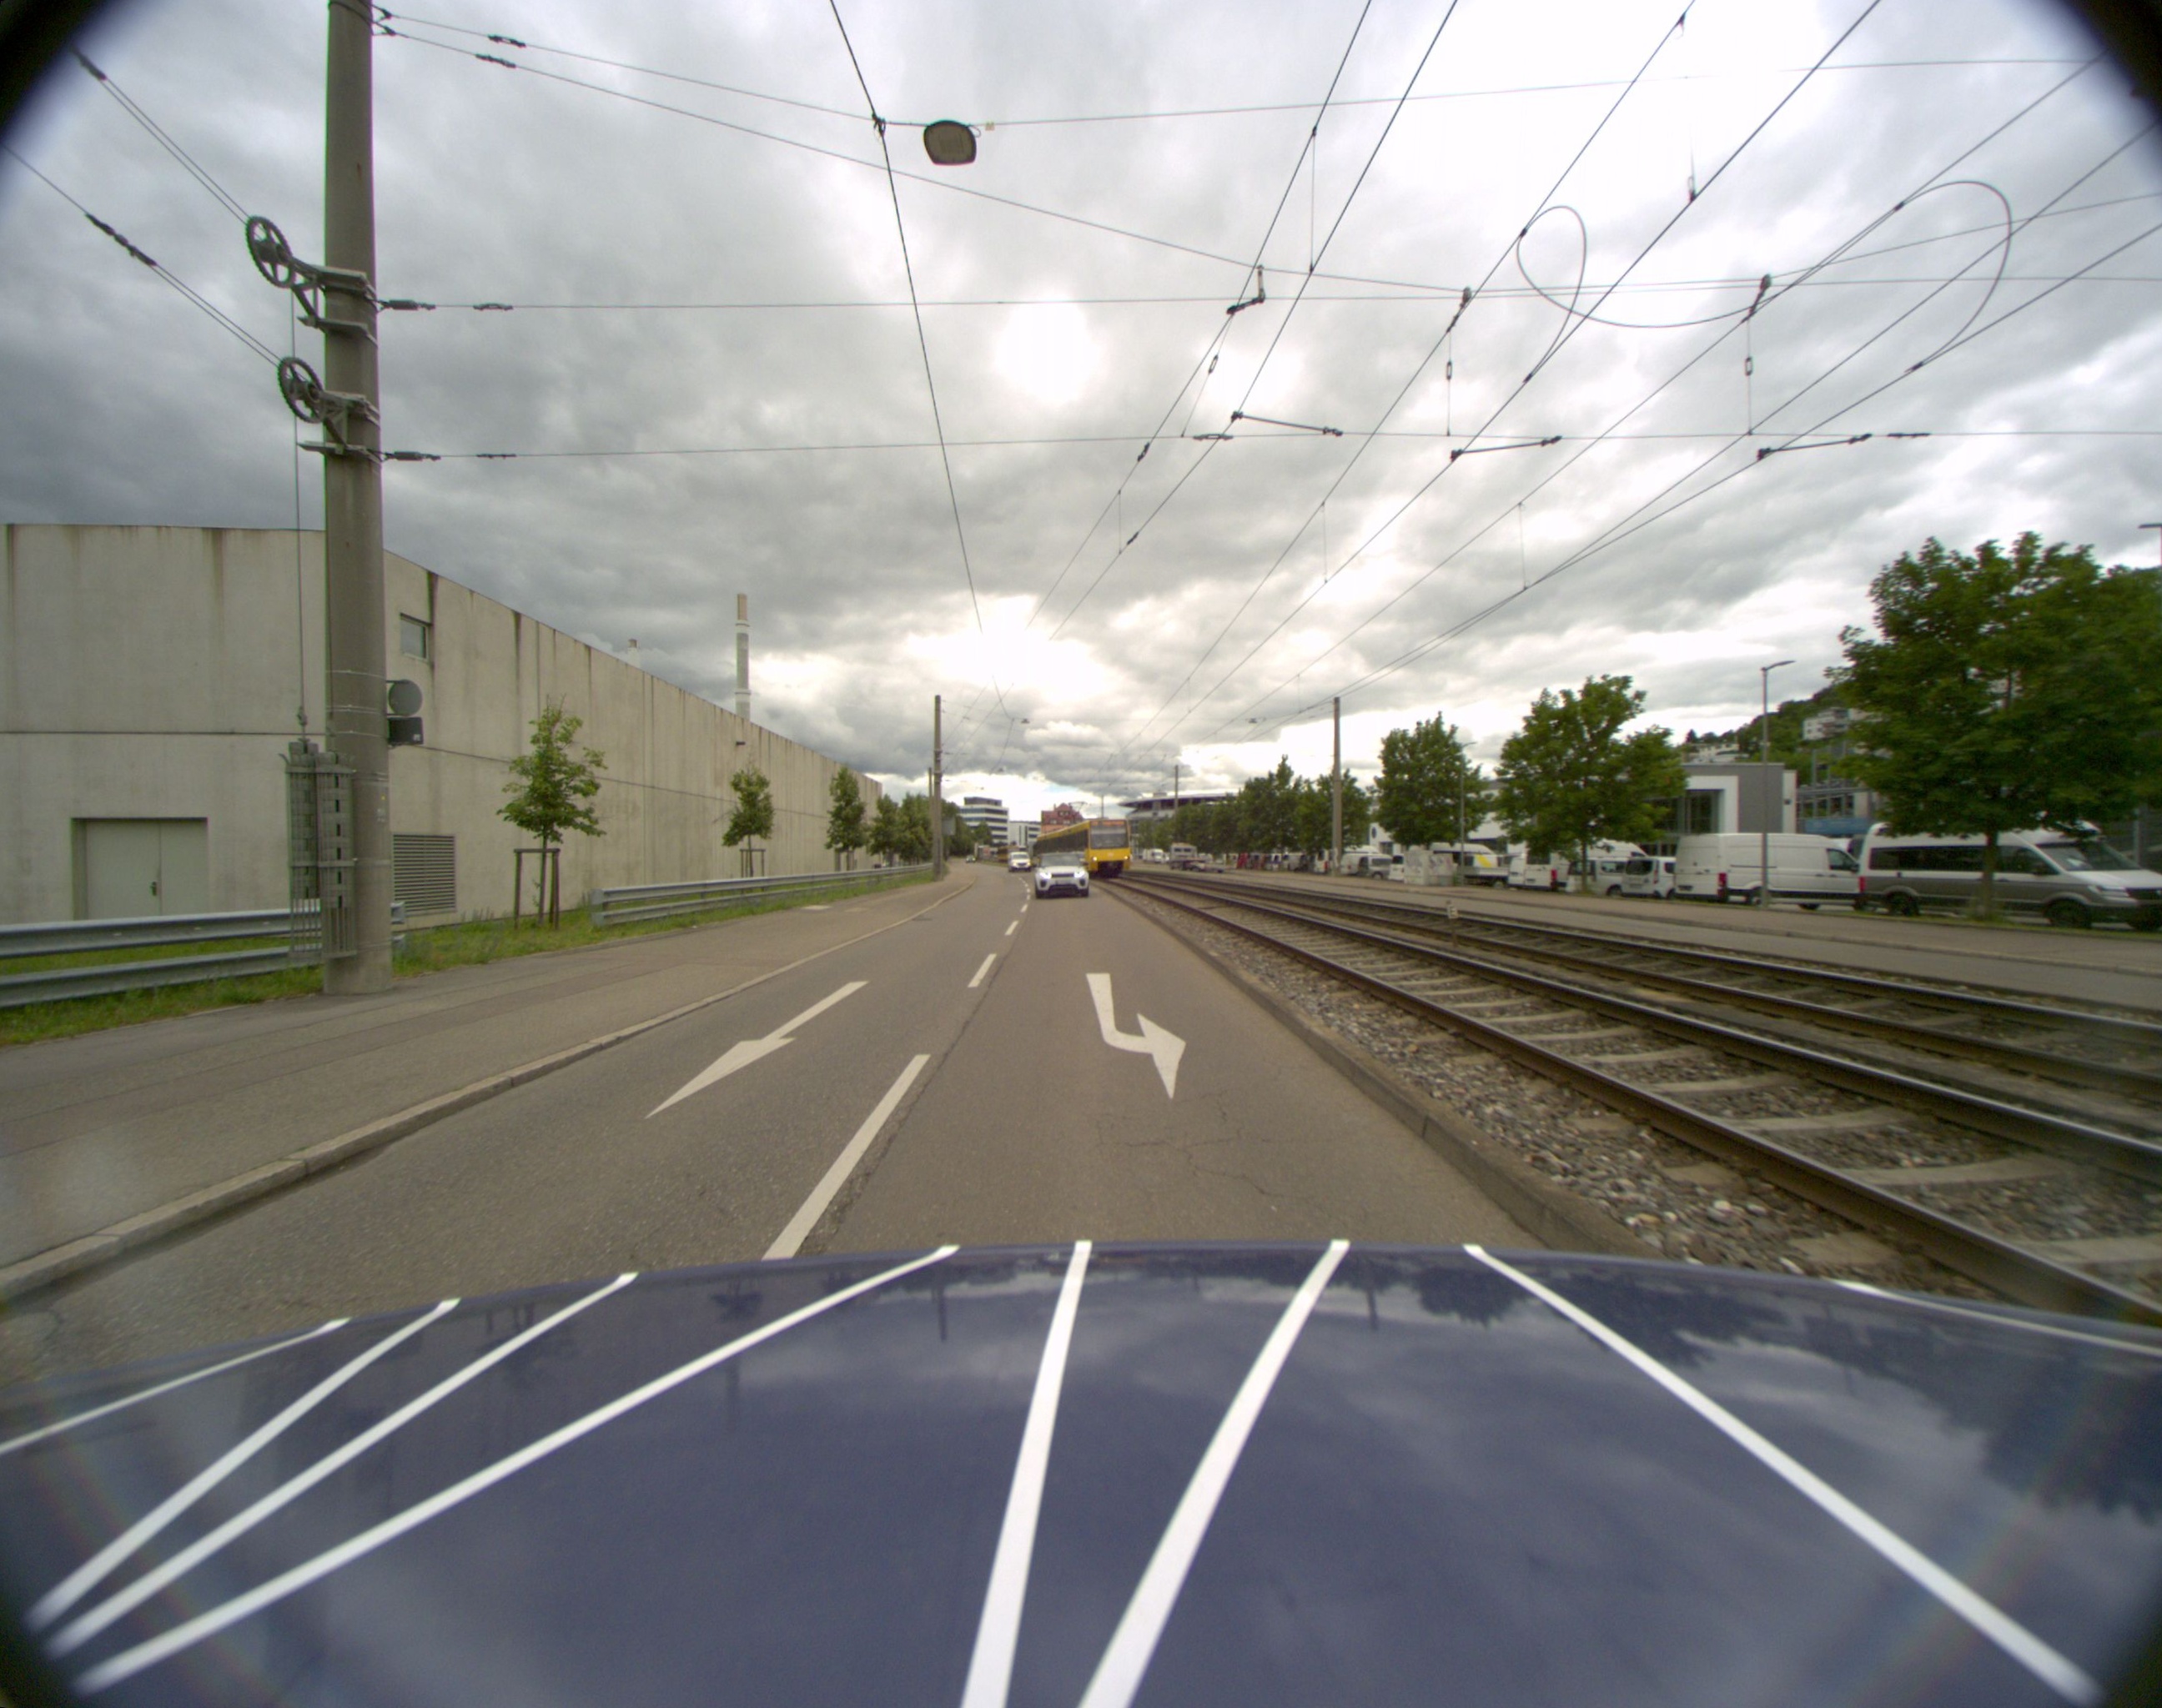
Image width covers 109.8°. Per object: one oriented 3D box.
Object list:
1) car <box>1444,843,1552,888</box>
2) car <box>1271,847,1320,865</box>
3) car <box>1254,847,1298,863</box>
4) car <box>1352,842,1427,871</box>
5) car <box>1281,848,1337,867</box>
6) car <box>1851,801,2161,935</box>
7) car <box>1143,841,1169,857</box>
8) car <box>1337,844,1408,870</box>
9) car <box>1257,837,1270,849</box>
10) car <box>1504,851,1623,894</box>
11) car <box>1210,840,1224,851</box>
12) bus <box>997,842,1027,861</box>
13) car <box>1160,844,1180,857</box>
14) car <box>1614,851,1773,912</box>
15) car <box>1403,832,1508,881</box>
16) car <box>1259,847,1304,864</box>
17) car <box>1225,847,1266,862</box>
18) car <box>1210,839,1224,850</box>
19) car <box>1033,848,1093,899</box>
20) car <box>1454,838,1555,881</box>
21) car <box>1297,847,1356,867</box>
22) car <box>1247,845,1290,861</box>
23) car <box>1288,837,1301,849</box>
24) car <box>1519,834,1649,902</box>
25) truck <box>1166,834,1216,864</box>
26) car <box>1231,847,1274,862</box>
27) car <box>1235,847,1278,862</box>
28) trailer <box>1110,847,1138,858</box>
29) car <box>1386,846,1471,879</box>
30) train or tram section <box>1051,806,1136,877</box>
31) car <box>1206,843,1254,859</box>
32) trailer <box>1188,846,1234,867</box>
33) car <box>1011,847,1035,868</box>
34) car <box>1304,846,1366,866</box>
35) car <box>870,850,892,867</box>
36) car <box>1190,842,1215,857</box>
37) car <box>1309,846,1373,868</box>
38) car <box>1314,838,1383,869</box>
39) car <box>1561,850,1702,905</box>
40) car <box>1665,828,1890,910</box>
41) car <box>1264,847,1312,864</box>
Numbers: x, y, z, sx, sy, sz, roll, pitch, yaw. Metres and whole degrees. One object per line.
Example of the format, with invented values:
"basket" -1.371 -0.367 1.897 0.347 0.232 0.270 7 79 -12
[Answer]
"car" 20.765 0.534 37.919 4.379 2.160 2.003 0 1 -6
"car" 19.667 0.203 69.742 3.997 1.608 2.000 0 1 0
"car" 19.876 0.070 77.498 3.997 1.608 2.000 0 1 0
"car" 21.376 0.144 52.718 4.377 1.936 2.004 0 1 -1
"car" 20.115 0.284 67.194 4.377 1.608 2.003 0 1 -2
"car" 24.308 0.293 19.978 2.113 3.002 5.936 0 1 0
"car" 12.293 -0.809 125.379 2.002 2.546 5.852 -1 1 -20
"car" 21.047 0.180 55.032 4.377 1.834 2.004 0 1 -1
"car" 32.194 -1.915 134.063 1.996 2.002 4.005 0 1 18
"car" 22.459 0.844 35.475 4.379 1.899 2.003 0 1 -6
"car" 24.644 -1.505 137.391 1.996 2.002 4.005 0 1 18
"bus" -15.442 -0.582 168.545 3.565 3.931 10.470 -2 2 -23
"car" 13.970 -0.518 119.635 2.000 2.002 4.803 -1 0 -8
"car" 22.436 0.960 27.928 4.379 2.093 2.003 0 1 -6
"car" 21.319 0.143 43.347 4.981 2.683 2.114 0 1 -6
"car" 19.867 0.138 75.390 3.997 1.608 2.000 0 1 0
"car" 19.172 0.052 88.871 4.347 1.608 2.154 0 1 0
"car" 24.490 -1.657 136.456 1.996 2.002 4.005 0 1 18
"car" -0.653 0.659 28.338 1.999 1.718 3.999 -2 1 -1
"car" 22.551 0.273 40.550 4.379 2.160 2.003 0 1 -6
"car" 20.982 0.215 65.020 4.377 1.676 2.004 0 1 -1
"car" 19.657 -0.086 79.862 3.997 1.655 2.047 0 1 0
"car" 37.452 -1.906 133.426 1.996 2.002 4.005 0 1 18
"car" 21.692 0.581 32.866 4.379 2.803 2.003 0 1 -6
"truck" 10.641 -0.478 74.588 2.764 2.726 9.214 2 0 -4
"car" 19.354 0.042 86.006 4.356 1.608 2.119 0 1 0
"car" 19.072 0.056 82.737 4.189 1.608 2.062 0 1 0
"trailer" 6.430 -0.206 114.908 2.767 1.486 7.219 2 0 -8
"car" 21.567 0.508 47.206 4.379 1.999 2.003 0 1 -6
"train or tram section" 0.408 -0.902 52.157 3.399 3.984 16.929 -2 1 -7
"car" 18.446 -0.386 94.096 5.703 1.996 2.146 0 1 16
"trailer" 11.276 0.145 66.601 2.389 1.688 6.944 2 1 -4
"car" -5.410 0.330 70.612 2.000 1.882 4.623 0 0 -8
"car" 20.873 0.178 62.559 4.377 1.608 2.004 0 1 -1
"car" -20.195 0.443 76.824 1.755 1.565 4.426 -2 0 -10
"car" 16.251 -0.584 101.963 2.000 2.002 4.857 0 1 -7
"car" 20.594 0.231 60.345 4.378 1.679 2.030 0 1 -5
"car" 20.118 -0.059 57.257 4.508 2.298 2.125 0 1 -1
"car" 22.063 0.903 30.547 4.379 2.093 2.003 0 1 -6
"car" 23.038 0.470 25.298 5.487 2.587 2.246 0 1 -2
"car" 19.855 0.128 72.963 3.997 1.608 2.000 0 1 0
